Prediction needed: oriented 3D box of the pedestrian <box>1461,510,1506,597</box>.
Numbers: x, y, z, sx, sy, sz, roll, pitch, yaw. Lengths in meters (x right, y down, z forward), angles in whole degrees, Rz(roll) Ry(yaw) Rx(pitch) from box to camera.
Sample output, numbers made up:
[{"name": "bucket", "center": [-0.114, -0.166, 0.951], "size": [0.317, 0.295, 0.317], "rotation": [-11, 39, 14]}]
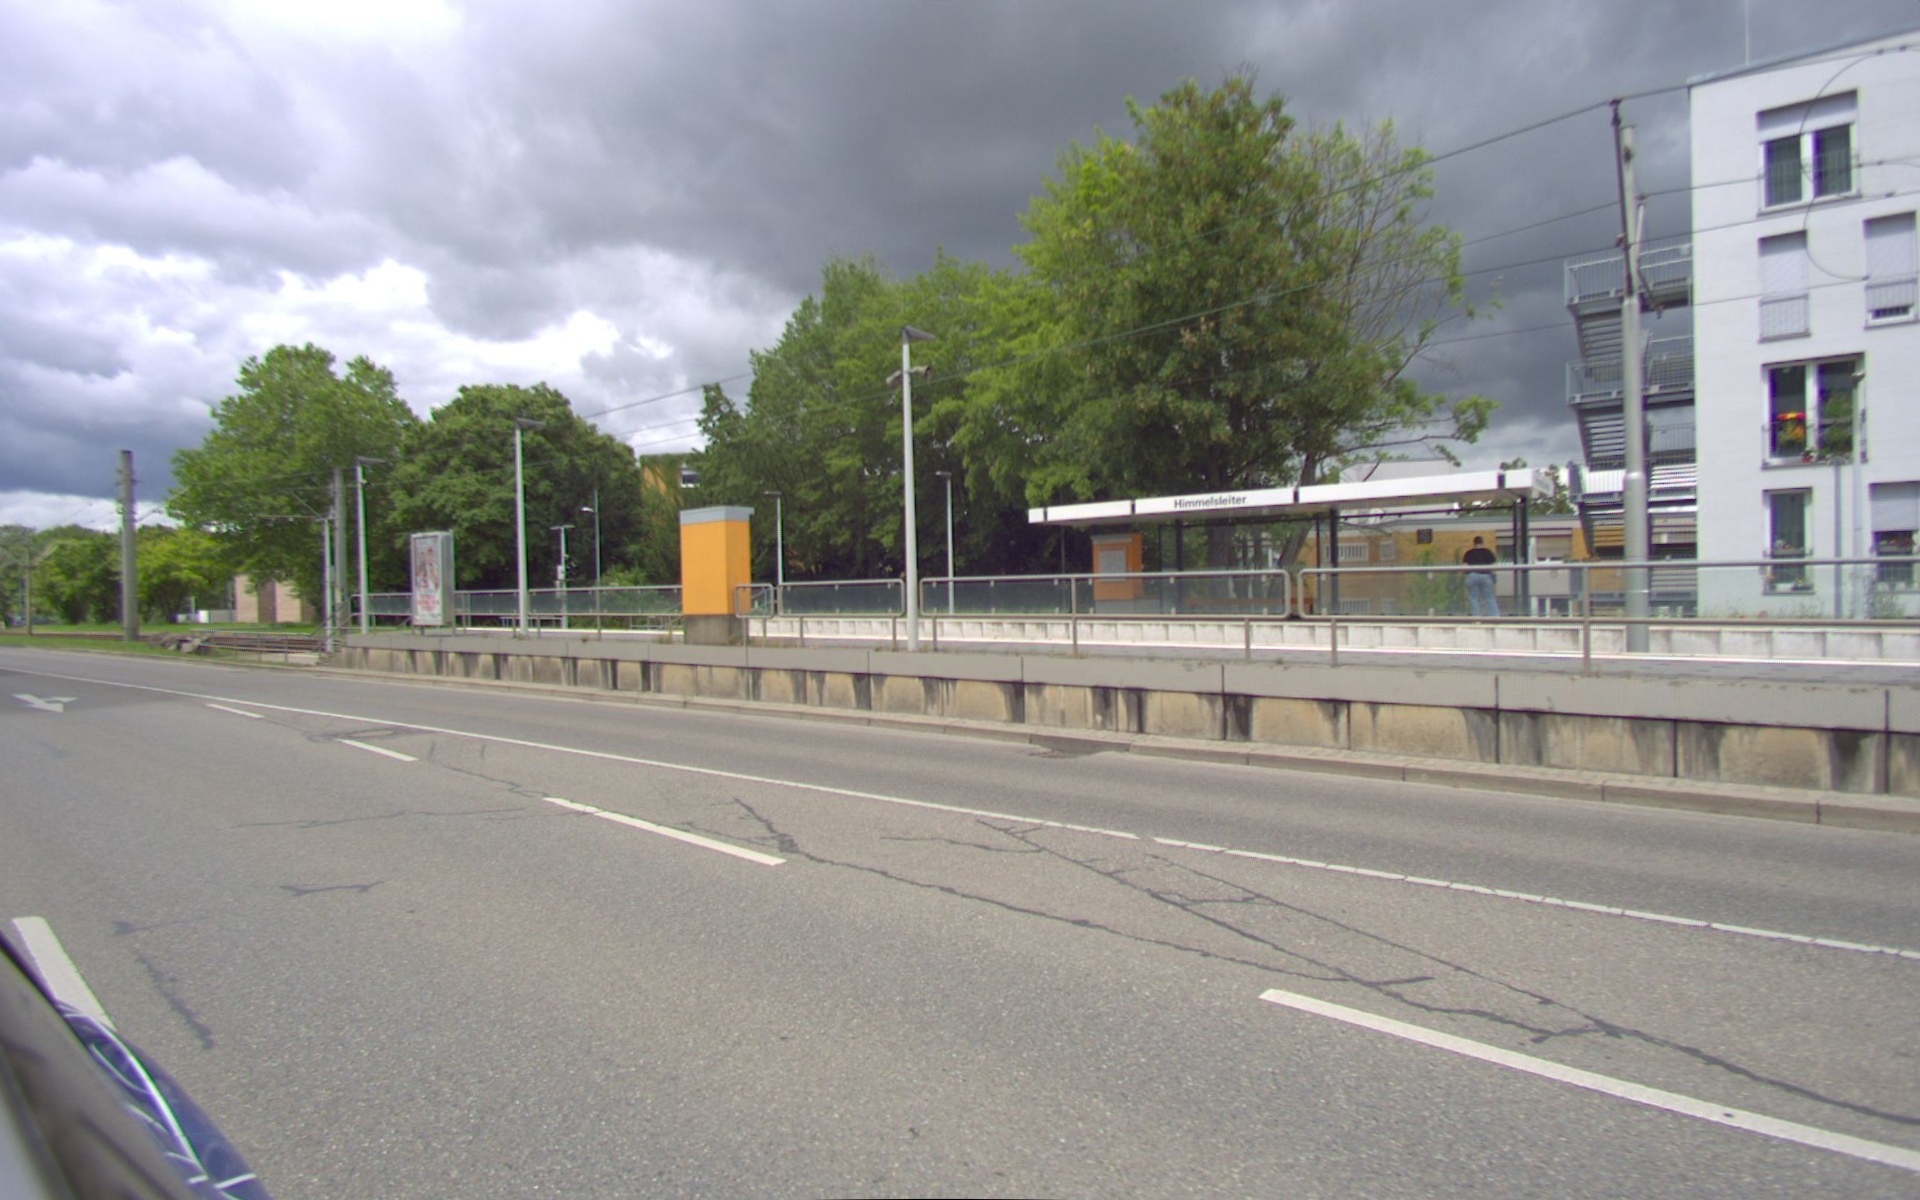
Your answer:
[{"name": "pedestrian", "center": [9.511, -0.833, 18.393], "size": [0.547, 1.542, 0.733], "rotation": [-1, 0, 41]}]
